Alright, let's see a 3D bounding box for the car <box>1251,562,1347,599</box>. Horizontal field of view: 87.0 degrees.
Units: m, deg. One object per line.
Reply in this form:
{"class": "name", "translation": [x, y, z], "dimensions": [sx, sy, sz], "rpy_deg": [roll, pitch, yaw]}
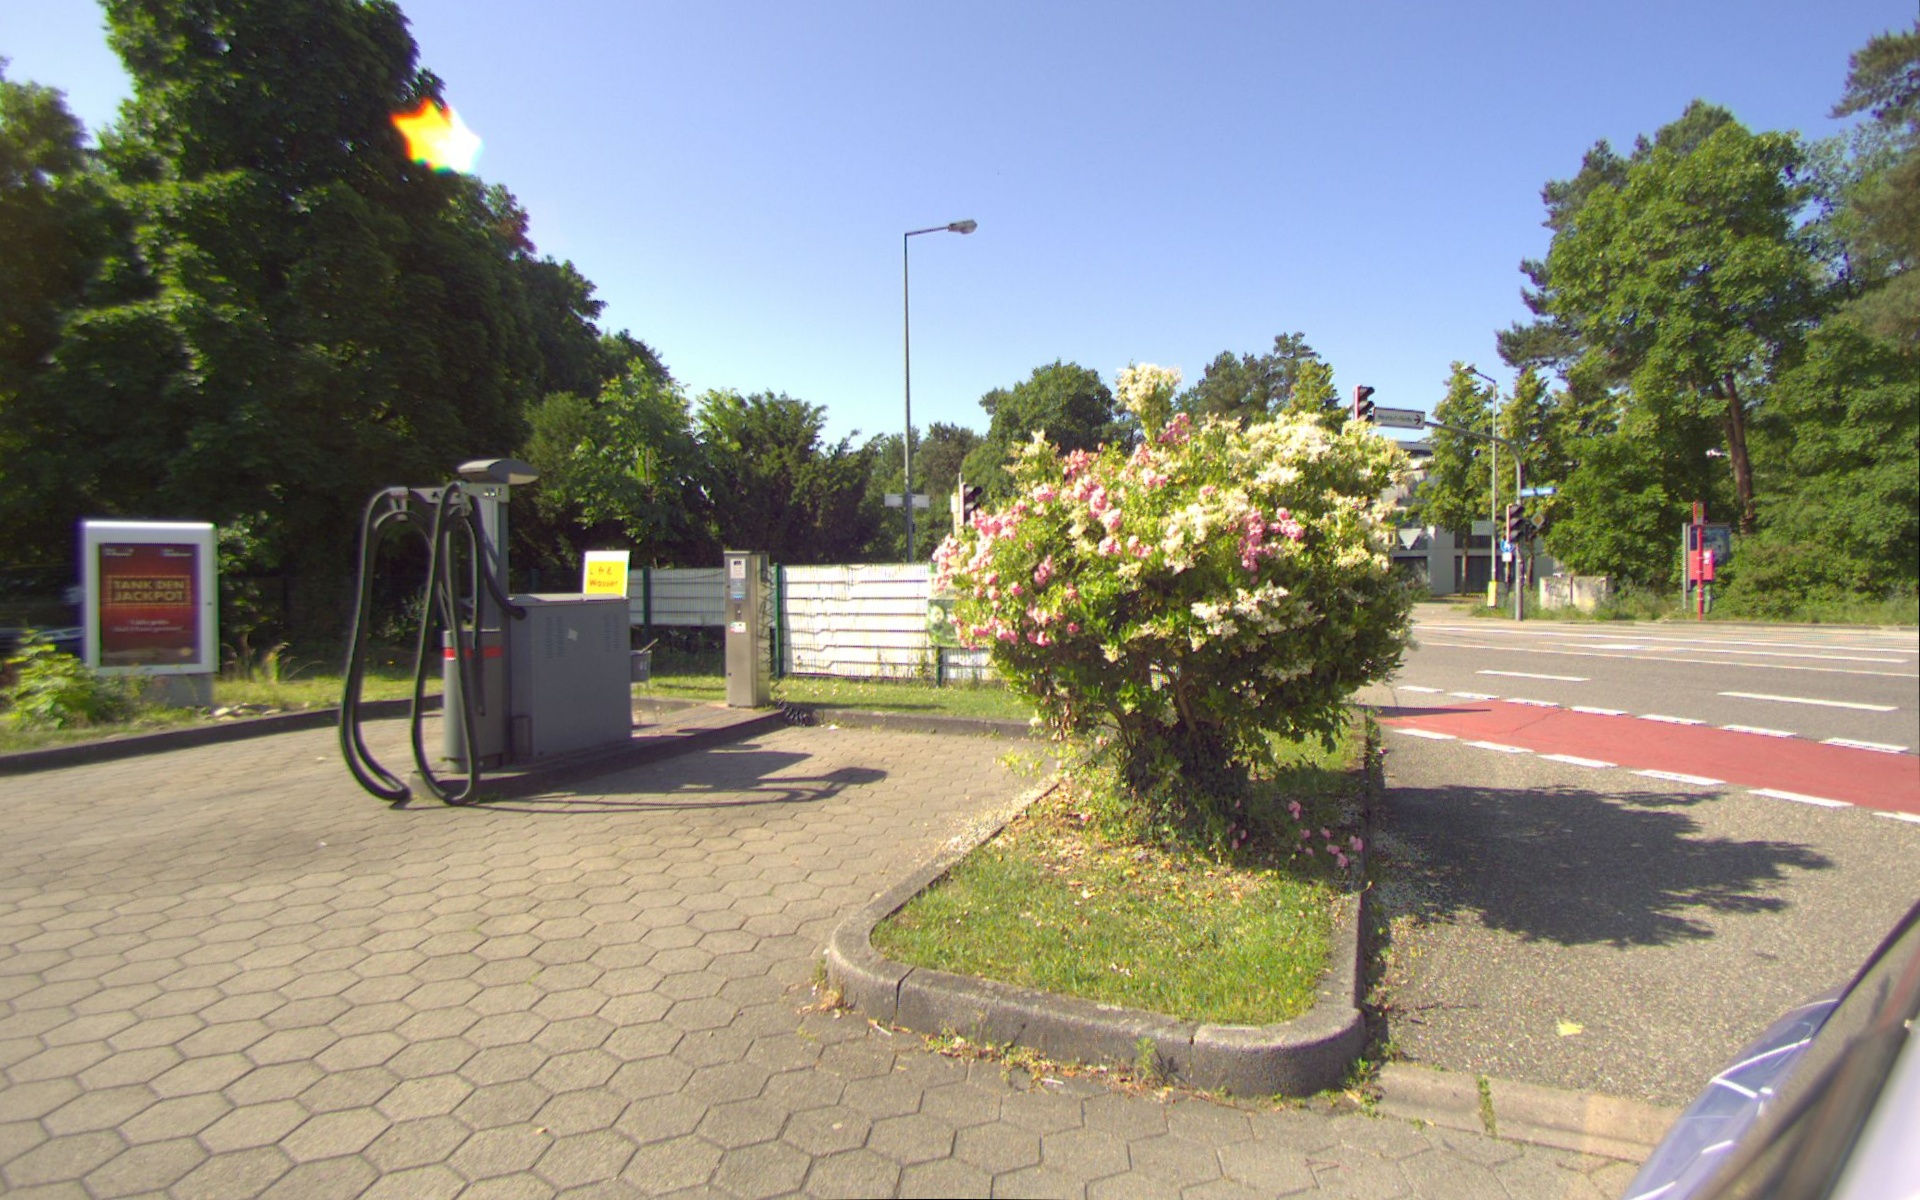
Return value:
{"class": "car", "translation": [17.176, -0.967, 51.261], "dimensions": [4.564, 1.800, 1.856], "rpy_deg": [0, 1, -24]}

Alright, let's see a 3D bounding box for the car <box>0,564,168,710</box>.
{"class": "car", "translation": [-11.188, 0.365, 12.280], "dimensions": [1.649, 1.530, 3.946], "rpy_deg": [-1, 1, -26]}

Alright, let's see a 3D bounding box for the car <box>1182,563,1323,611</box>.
{"class": "car", "translation": [9.735, -0.454, 34.087], "dimensions": [1.814, 1.514, 4.921], "rpy_deg": [0, 1, -24]}
